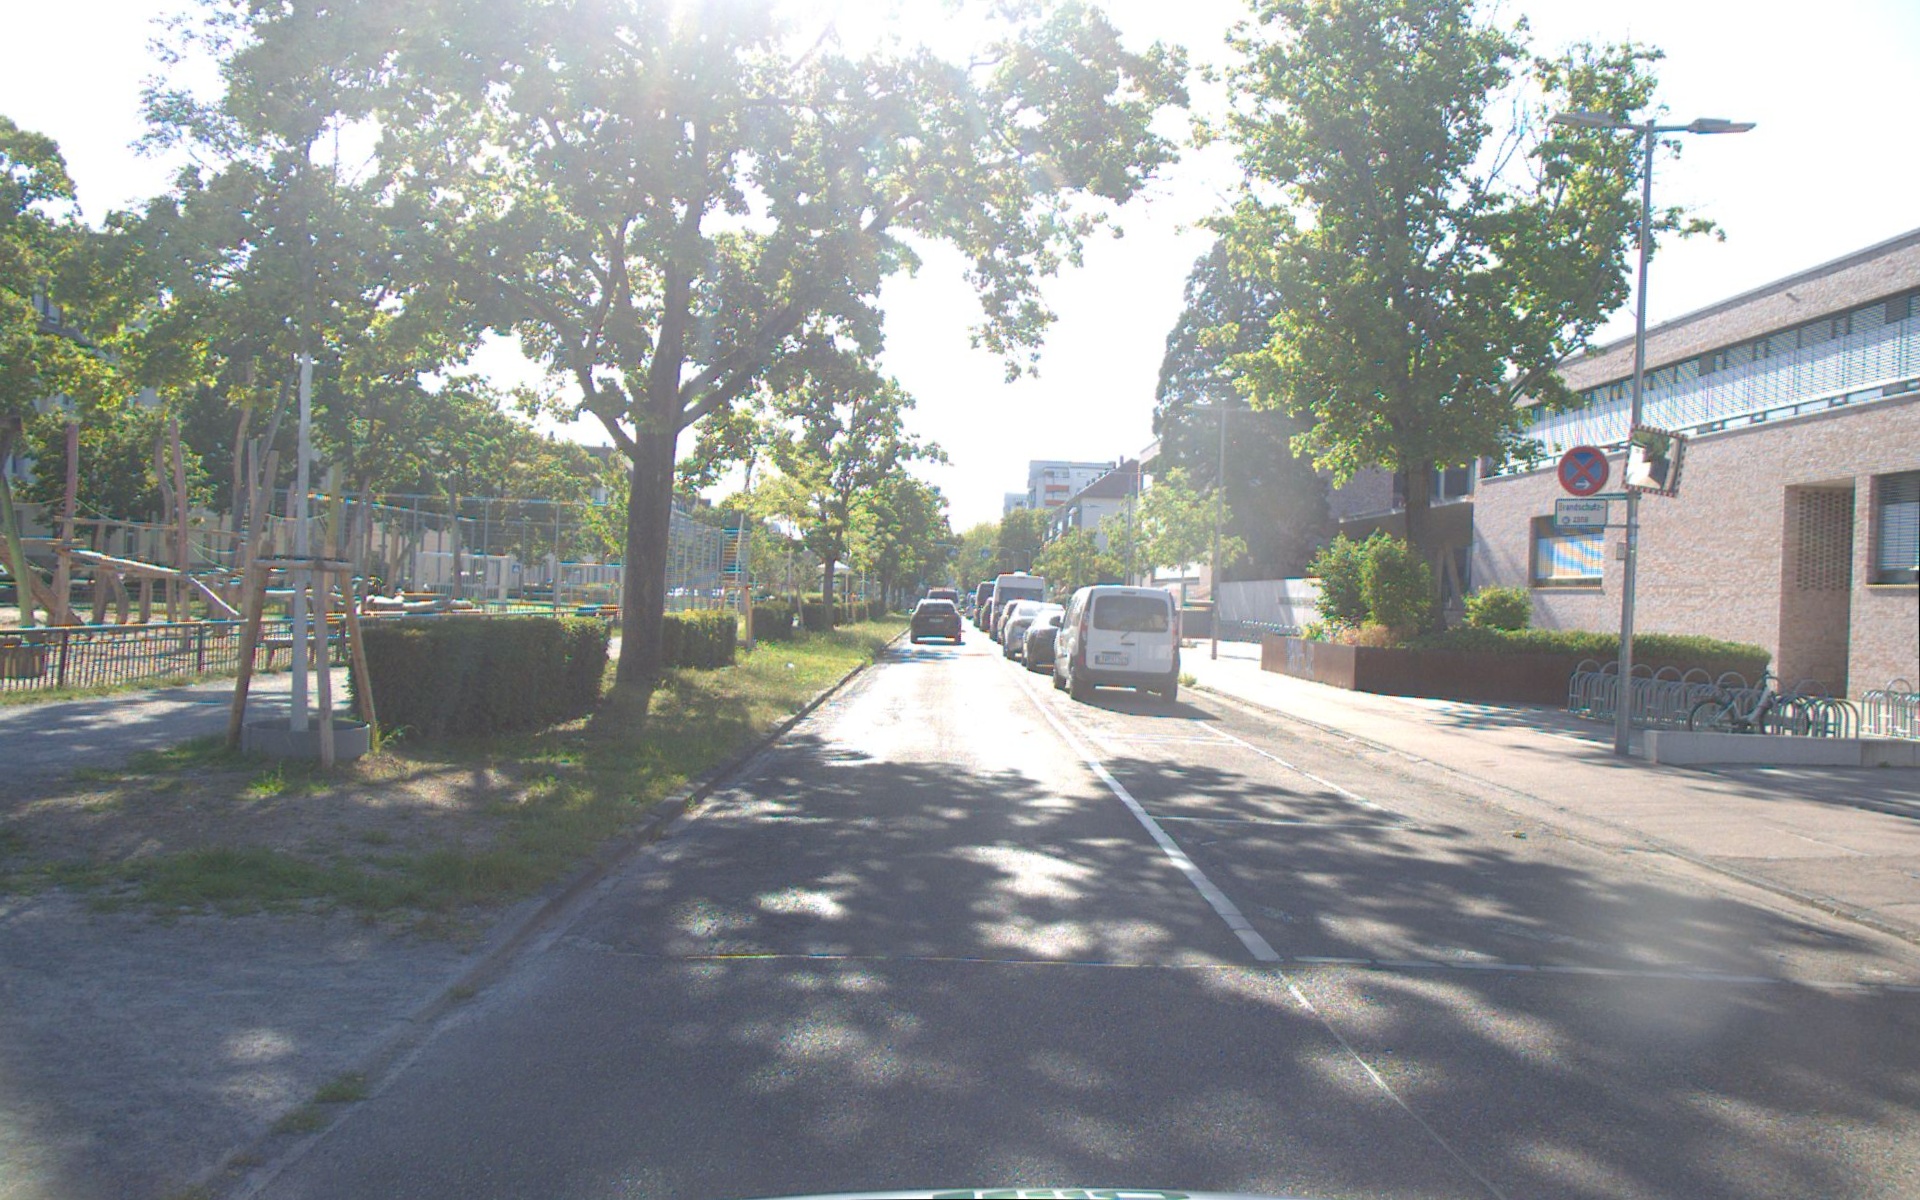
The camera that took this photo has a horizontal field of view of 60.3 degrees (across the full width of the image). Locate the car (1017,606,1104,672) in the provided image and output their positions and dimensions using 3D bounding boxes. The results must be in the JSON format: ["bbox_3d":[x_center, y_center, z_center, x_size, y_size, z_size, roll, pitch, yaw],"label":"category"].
[{"bbox_3d":[2.289,0.865,38.486,1.667,1.348,4.128,3,0,-1],"label":"car"}]

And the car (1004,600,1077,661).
[{"bbox_3d":[2.120,0.787,44.593,1.667,1.504,4.173,3,0,0],"label":"car"}]

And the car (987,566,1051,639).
[{"bbox_3d":[2.269,0.100,64.974,2.195,2.619,5.432,3,0,0],"label":"car"}]

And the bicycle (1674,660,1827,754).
[{"bbox_3d":[9.896,1.332,20.724,1.635,1.047,0.500,4,0,-3],"label":"bicycle"}]

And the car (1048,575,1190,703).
[{"bbox_3d":[2.623,0.611,28.296,1.771,1.941,4.459,3,0,-2],"label":"car"}]

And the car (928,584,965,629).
[{"bbox_3d":[-0.661,0.315,82.830,1.757,2.159,4.000,2,0,0],"label":"car"}]

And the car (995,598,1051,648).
[{"bbox_3d":[2.169,0.774,57.365,1.587,1.616,3.590,2,0,-3],"label":"car"}]

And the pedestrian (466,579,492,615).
[{"bbox_3d":[-18.686,-0.109,64.236,0.636,1.341,0.649,2,0,29],"label":"pedestrian"}]

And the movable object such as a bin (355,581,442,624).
[{"bbox_3d":[-17.019,0.074,50.174,2.285,1.263,1.055,1,0,-5],"label":"movable object such as a bin"}]

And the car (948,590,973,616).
[{"bbox_3d":[0.069,0.213,128.145,1.757,1.887,4.414,2,0,2],"label":"car"}]

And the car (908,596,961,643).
[{"bbox_3d":[-0.863,0.651,58.048,1.757,1.536,4.000,2,0,0],"label":"car"}]

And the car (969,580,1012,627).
[{"bbox_3d":[1.694,0.181,94.736,2.072,2.559,6.529,2,0,-2],"label":"car"}]

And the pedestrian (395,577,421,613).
[{"bbox_3d":[-21.100,-0.206,63.209,0.636,1.341,0.649,2,0,29],"label":"pedestrian"}]

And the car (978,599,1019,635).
[{"bbox_3d":[1.871,0.817,82.200,1.808,1.669,4.502,2,0,-1],"label":"car"}]

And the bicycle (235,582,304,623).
[{"bbox_3d":[-20.237,0.069,48.469,1.758,1.127,0.500,2,0,-3],"label":"bicycle"}]

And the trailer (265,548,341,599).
[{"bbox_3d":[-39.978,-1.575,100.806,2.296,2.920,5.801,2,0,-1],"label":"trailer"}]
